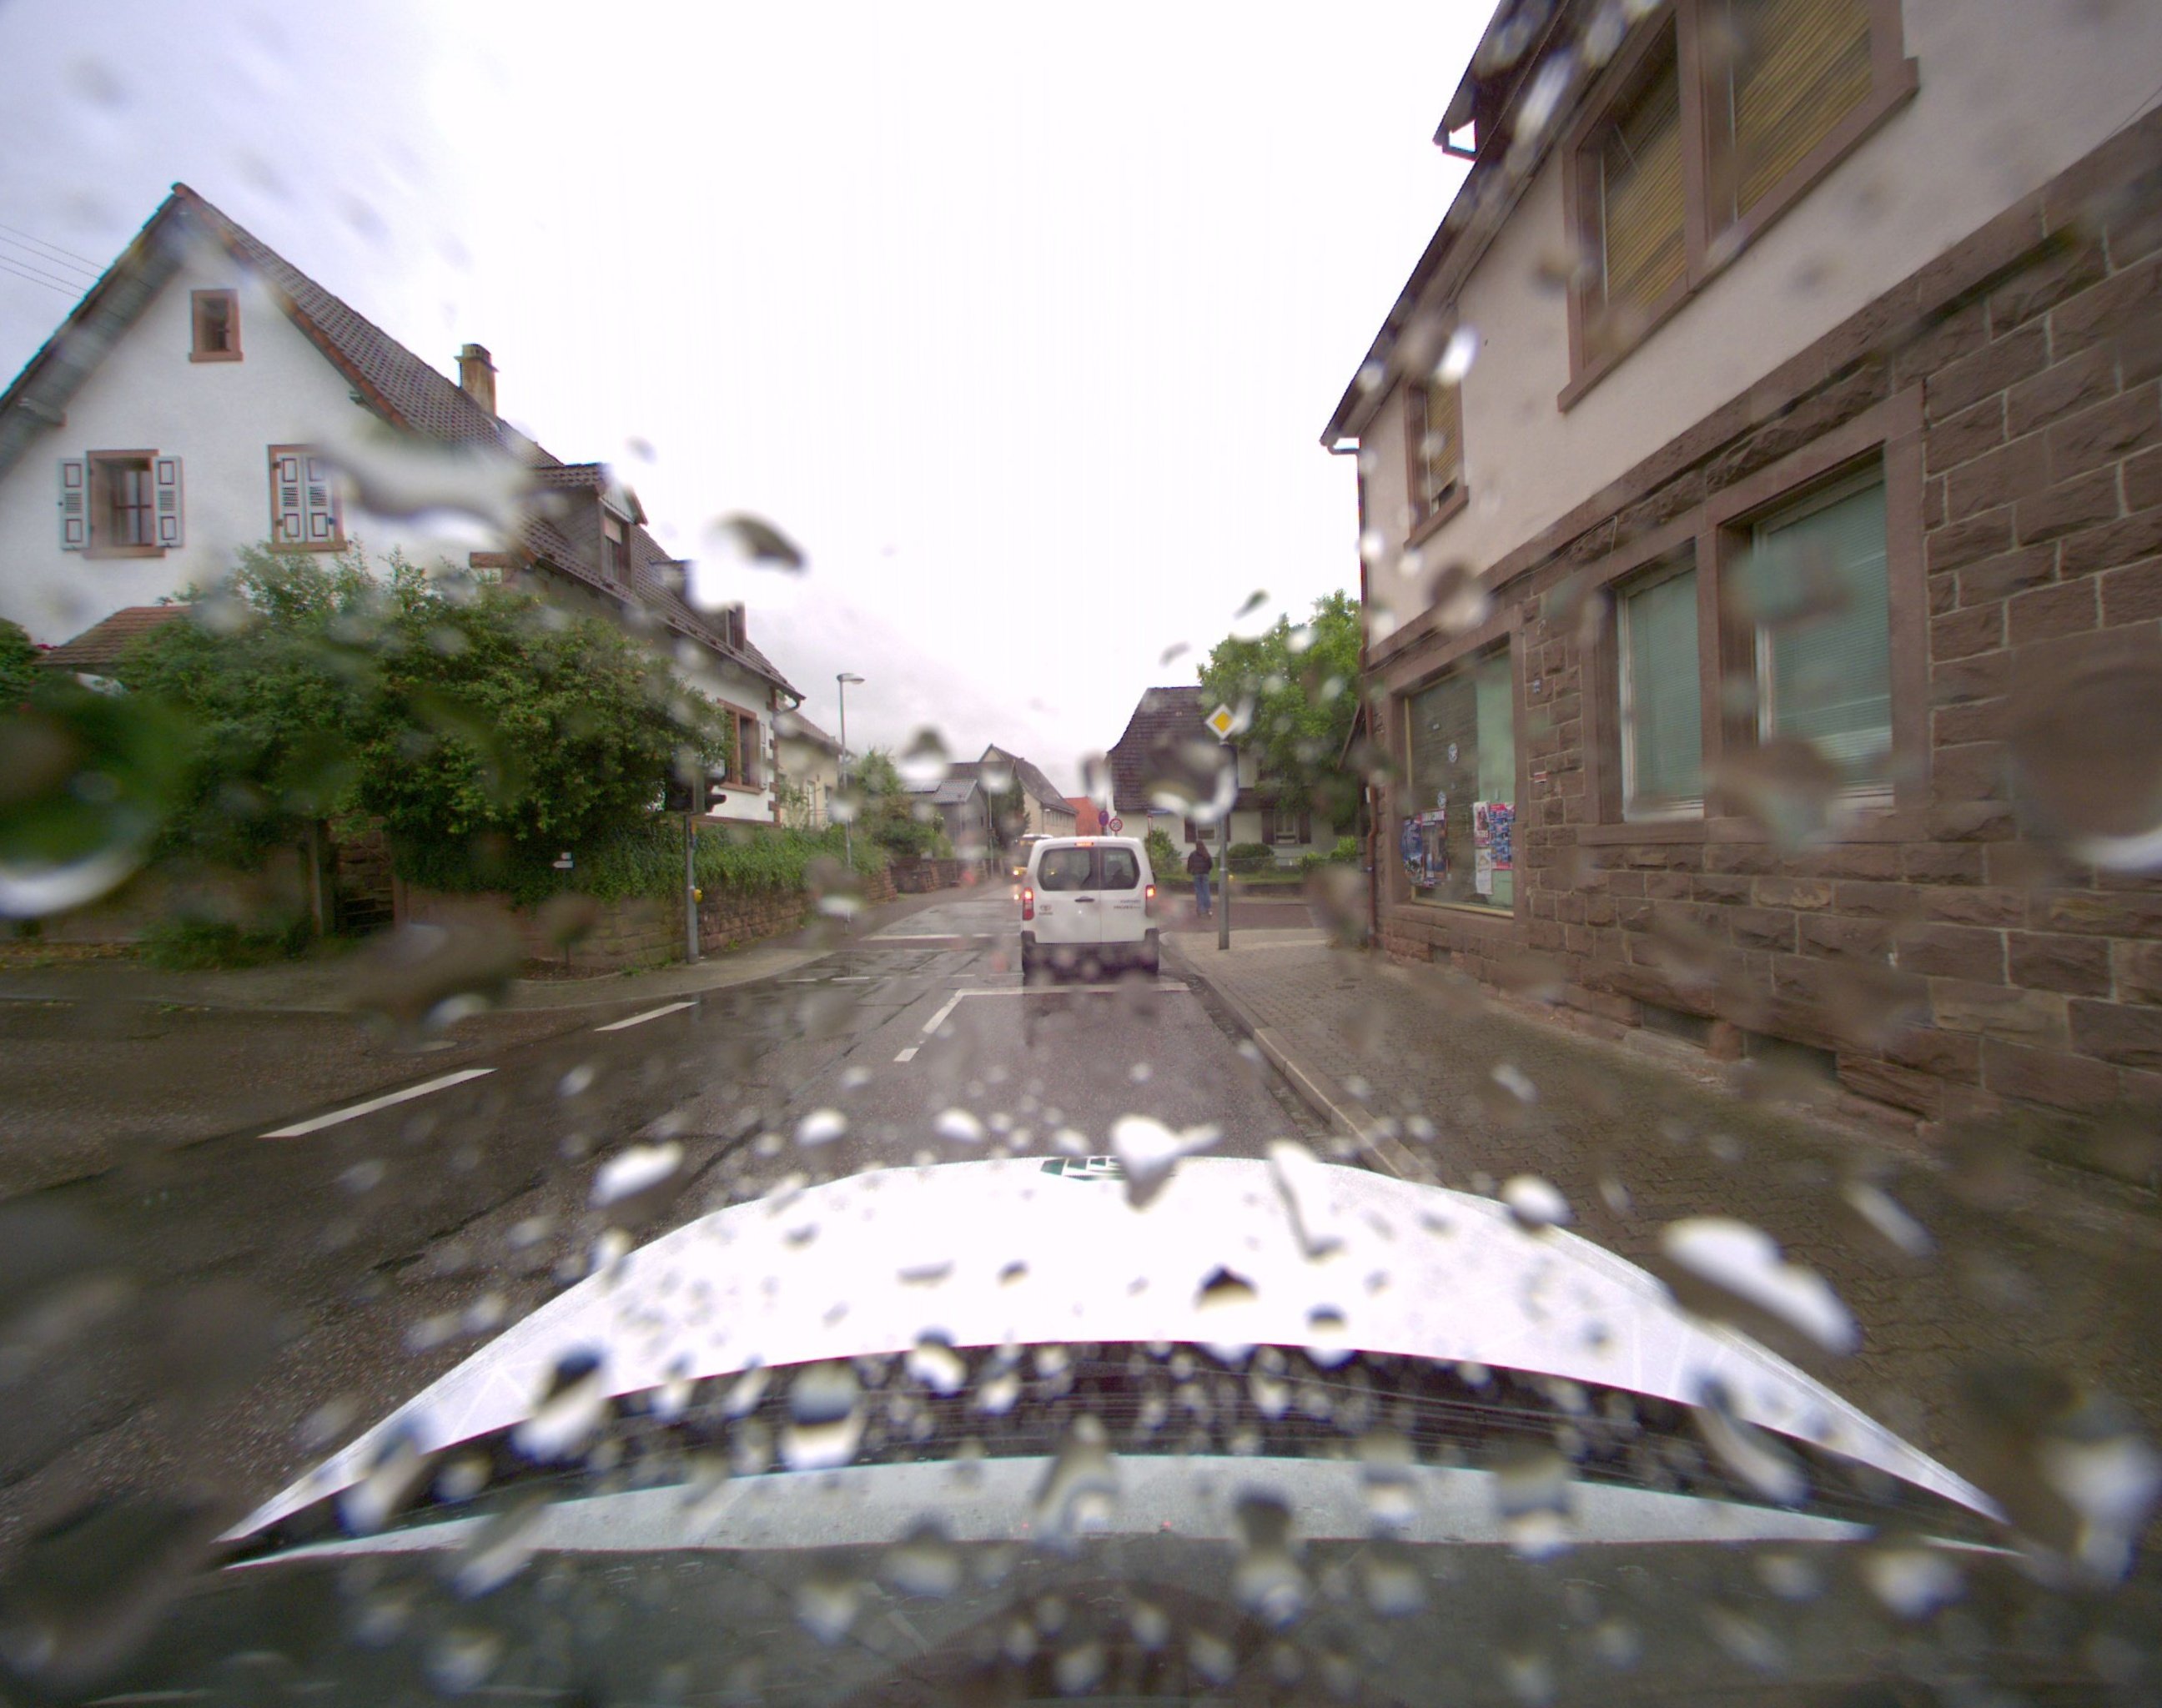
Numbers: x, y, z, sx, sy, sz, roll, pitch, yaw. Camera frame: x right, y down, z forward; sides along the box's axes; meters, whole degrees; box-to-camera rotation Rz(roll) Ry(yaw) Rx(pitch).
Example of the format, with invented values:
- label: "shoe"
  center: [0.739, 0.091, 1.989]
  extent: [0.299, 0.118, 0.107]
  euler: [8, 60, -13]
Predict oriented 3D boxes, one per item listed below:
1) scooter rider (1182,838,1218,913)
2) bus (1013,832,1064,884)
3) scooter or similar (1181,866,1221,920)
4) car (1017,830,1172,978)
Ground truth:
- label: "scooter rider"
  center: [2.856, 0.497, 19.631]
  extent: [0.730, 1.732, 0.517]
  euler: [-2, 5, -6]
- label: "bus"
  center: [-2.638, 0.099, 54.021]
  extent: [2.641, 2.999, 12.193]
  euler: [-1, 1, 0]
- label: "scooter or similar"
  center: [2.872, 0.916, 19.609]
  extent: [0.619, 1.126, 1.399]
  euler: [-2, 4, -6]
- label: "car"
  center: [0.164, 0.611, 11.884]
  extent: [1.888, 1.794, 3.813]
  euler: [0, 0, 0]
